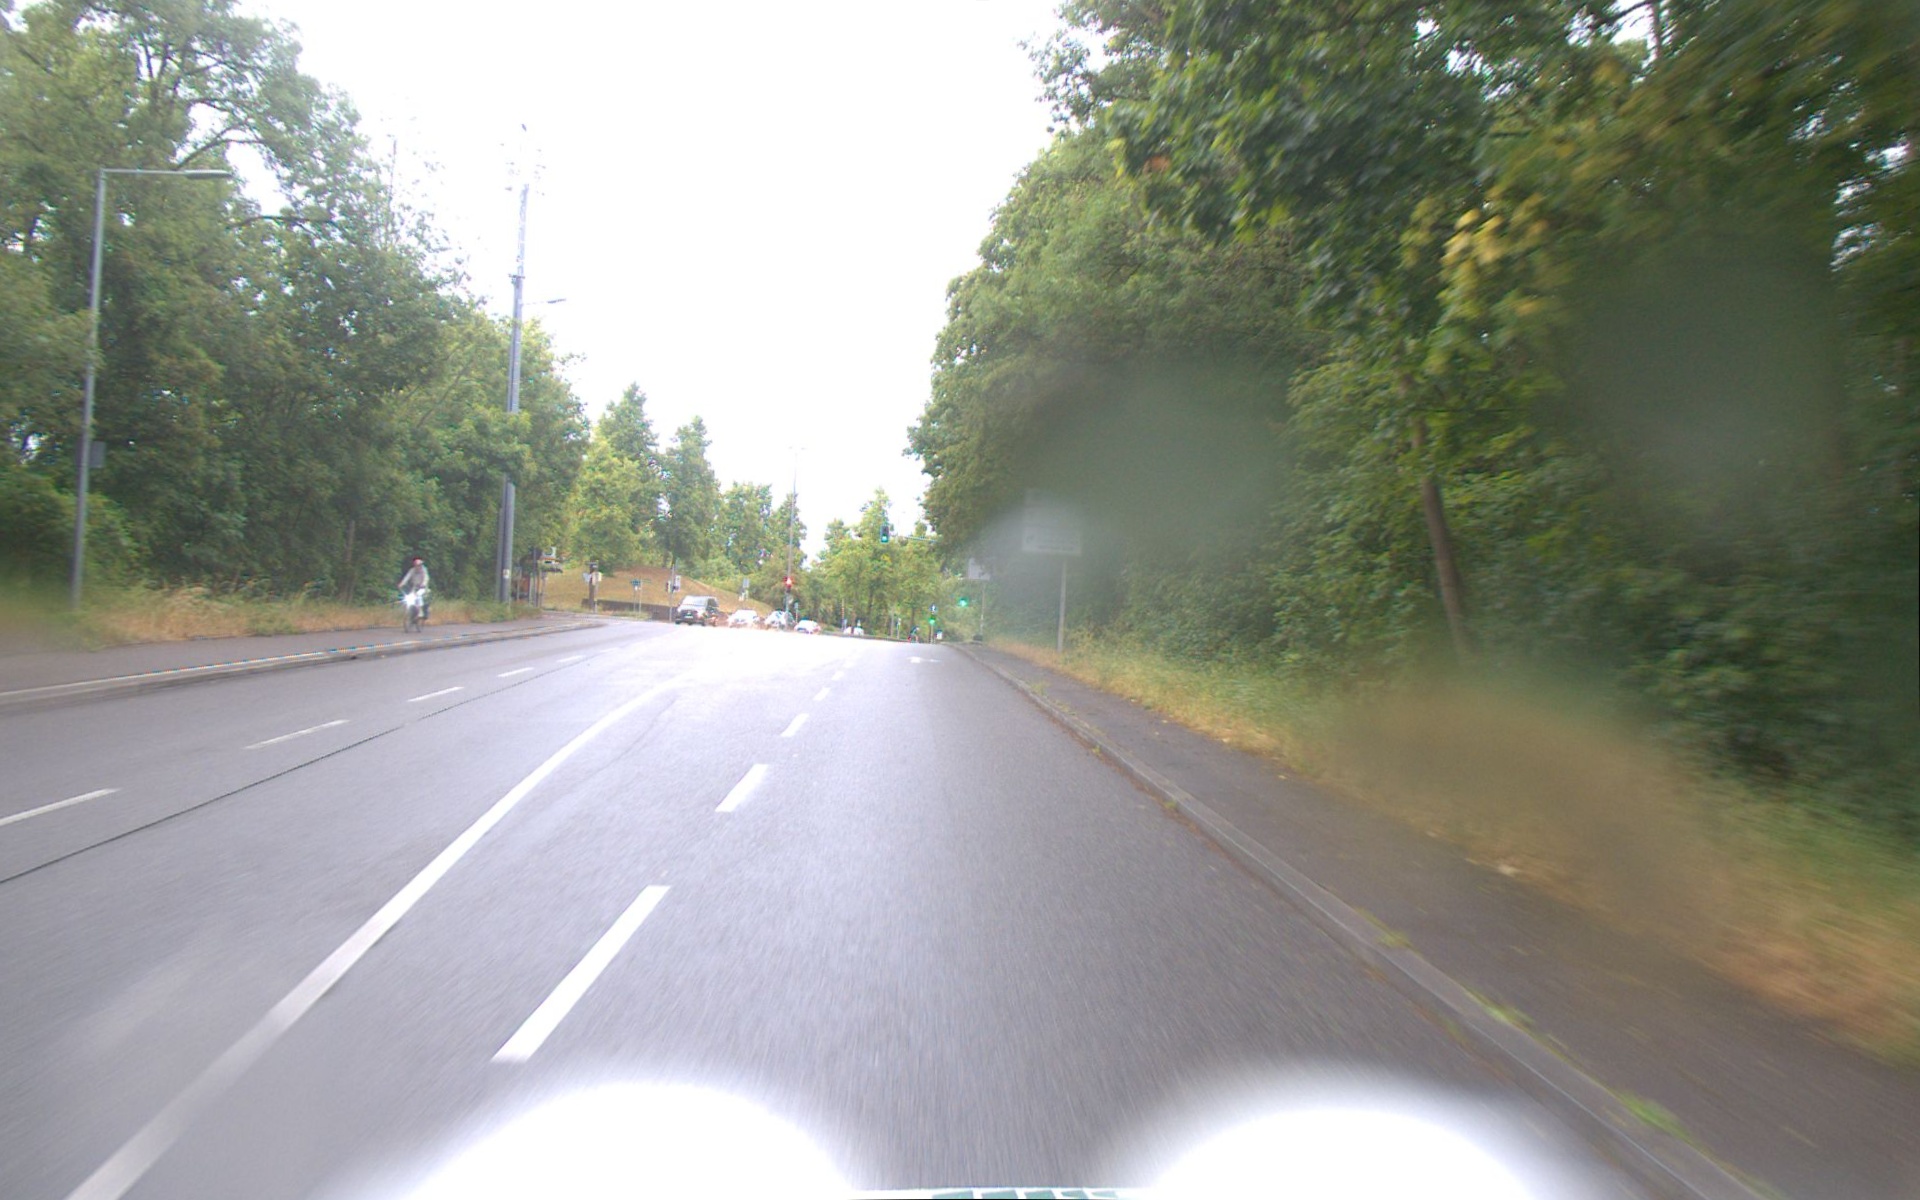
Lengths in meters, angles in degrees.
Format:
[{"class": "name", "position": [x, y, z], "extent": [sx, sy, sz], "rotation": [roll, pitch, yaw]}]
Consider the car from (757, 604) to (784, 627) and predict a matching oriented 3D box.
[{"class": "car", "position": [-13.269, 1.081, 115.698], "extent": [1.669, 1.452, 4.071], "rotation": [4, -1, -8]}]

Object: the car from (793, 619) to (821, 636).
[{"class": "car", "position": [-13.172, 2.374, 142.721], "extent": [1.836, 1.398, 4.385], "rotation": [3, -1, 2]}]

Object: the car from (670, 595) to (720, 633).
[{"class": "car", "position": [-16.748, 0.897, 104.751], "extent": [2.061, 1.979, 5.159], "rotation": [7, -2, 1]}]

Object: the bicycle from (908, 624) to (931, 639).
[{"class": "bicycle", "position": [-3.548, 2.766, 145.887], "extent": [2.124, 1.163, 0.545], "rotation": [7, -4, -45]}]

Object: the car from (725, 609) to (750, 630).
[{"class": "car", "position": [-16.024, 1.411, 119.287], "extent": [1.600, 1.419, 3.994], "rotation": [2, -1, -7]}]

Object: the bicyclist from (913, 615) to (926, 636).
[{"class": "bicyclist", "position": [-3.583, 2.283, 145.858], "extent": [0.795, 1.783, 0.713], "rotation": [8, -7, -44]}]

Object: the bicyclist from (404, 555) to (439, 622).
[{"class": "bicyclist", "position": [-13.258, -0.278, 40.756], "extent": [0.567, 1.614, 0.700], "rotation": [1, -1, 4]}]

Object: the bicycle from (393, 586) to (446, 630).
[{"class": "bicycle", "position": [-13.280, 0.187, 40.689], "extent": [0.443, 1.021, 2.018], "rotation": [4, 0, 4]}]
